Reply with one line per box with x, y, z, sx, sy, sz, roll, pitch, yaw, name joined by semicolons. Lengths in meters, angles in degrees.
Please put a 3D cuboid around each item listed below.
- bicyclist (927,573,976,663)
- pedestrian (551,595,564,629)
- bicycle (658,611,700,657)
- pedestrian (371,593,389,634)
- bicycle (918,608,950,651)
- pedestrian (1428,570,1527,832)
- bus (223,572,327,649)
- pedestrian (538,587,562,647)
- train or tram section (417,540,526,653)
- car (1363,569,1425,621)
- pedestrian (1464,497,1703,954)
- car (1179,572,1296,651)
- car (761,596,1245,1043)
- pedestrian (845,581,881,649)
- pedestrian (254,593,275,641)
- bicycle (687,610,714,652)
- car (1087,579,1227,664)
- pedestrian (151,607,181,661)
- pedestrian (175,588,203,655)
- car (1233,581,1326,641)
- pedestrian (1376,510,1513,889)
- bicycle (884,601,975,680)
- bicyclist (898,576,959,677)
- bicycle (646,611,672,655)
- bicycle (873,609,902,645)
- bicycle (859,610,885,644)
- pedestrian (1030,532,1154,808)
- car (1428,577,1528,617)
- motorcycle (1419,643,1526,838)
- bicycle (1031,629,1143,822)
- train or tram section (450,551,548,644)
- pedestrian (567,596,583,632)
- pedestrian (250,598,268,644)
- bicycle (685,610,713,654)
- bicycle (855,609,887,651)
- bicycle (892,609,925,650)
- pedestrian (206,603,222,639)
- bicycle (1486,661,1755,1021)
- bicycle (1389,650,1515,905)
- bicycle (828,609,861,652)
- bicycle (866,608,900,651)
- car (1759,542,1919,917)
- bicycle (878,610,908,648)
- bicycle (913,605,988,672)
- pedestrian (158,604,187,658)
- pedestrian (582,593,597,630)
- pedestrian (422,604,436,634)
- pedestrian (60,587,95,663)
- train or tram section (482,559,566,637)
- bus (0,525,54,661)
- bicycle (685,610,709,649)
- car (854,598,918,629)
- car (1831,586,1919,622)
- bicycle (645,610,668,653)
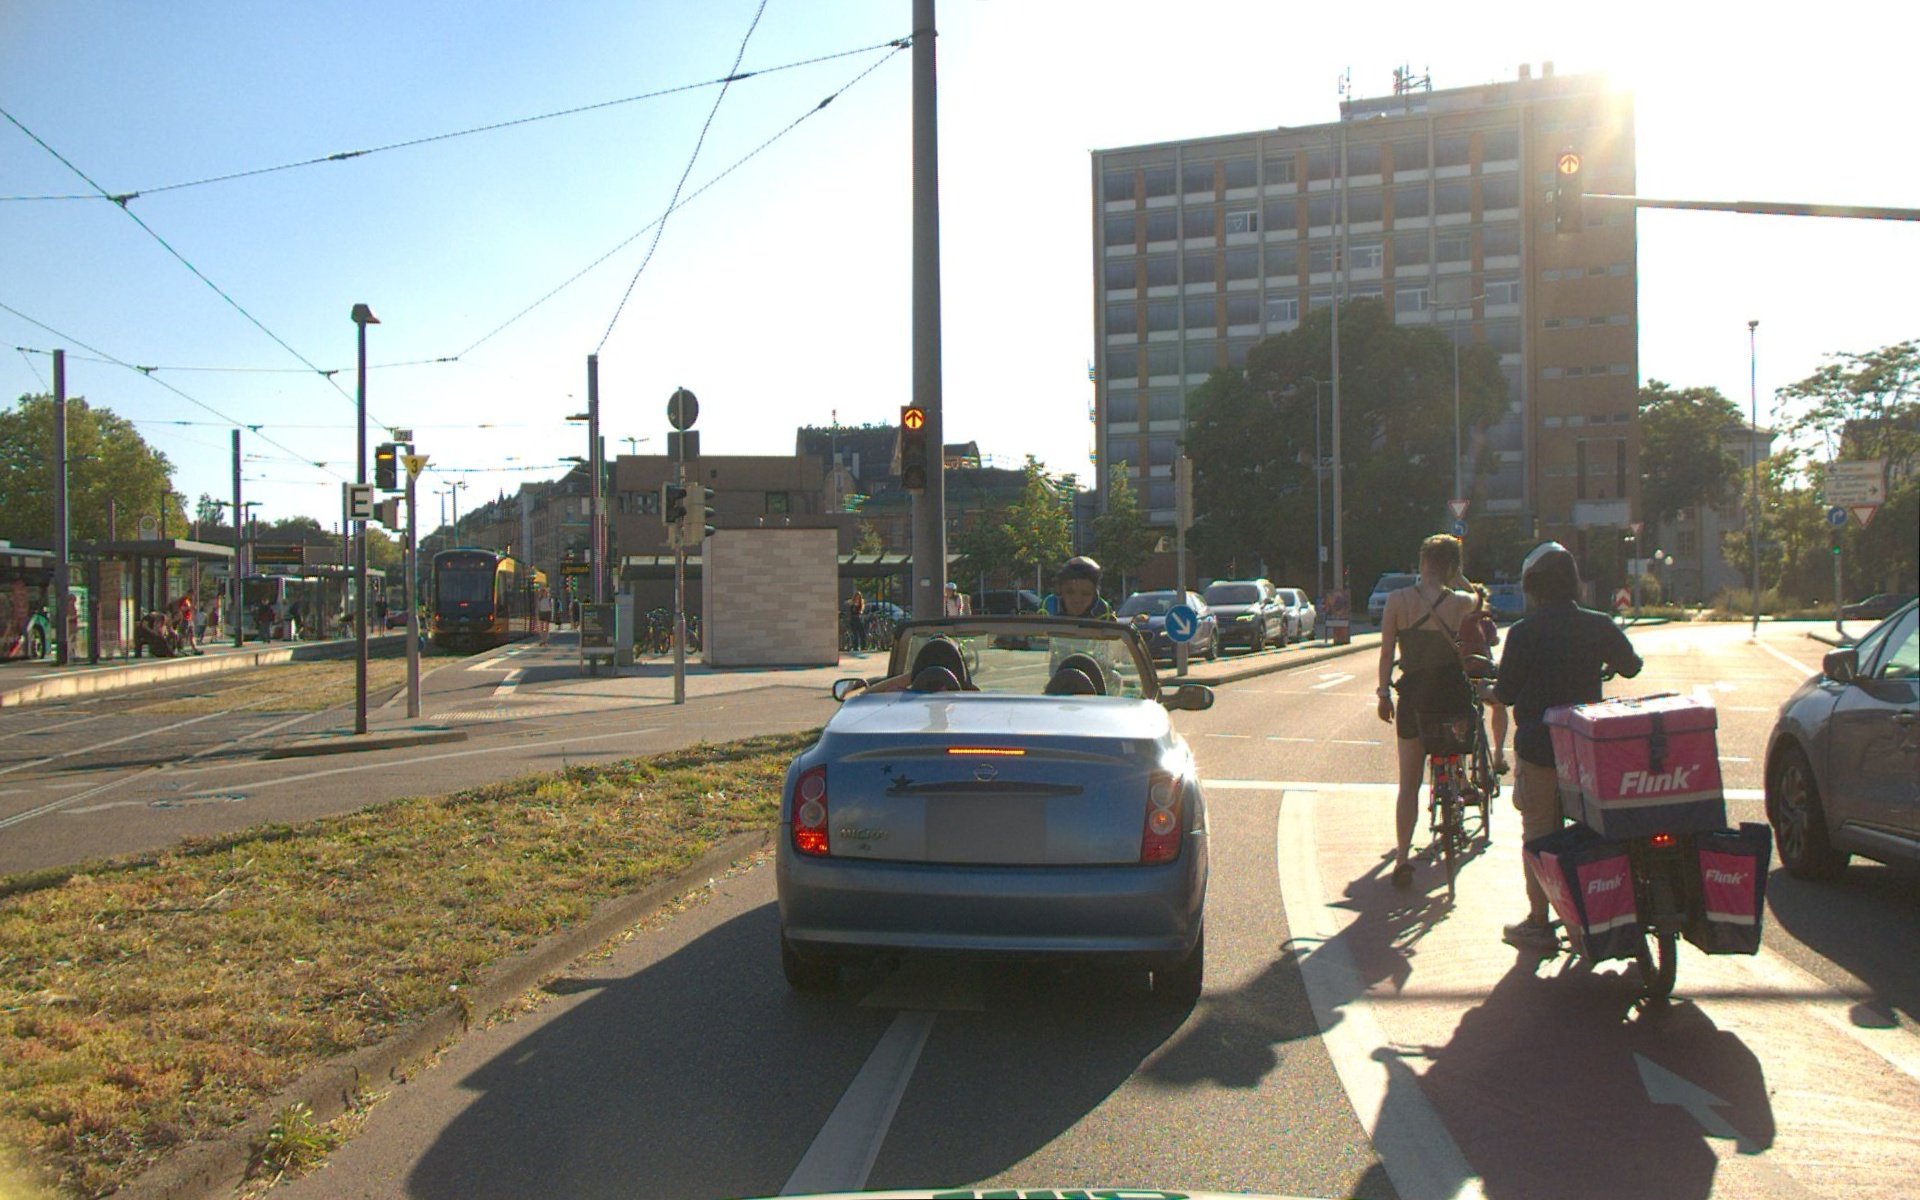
-0.155;0.348;31.476;0.694;1.686;0.743;-1;0;21;bicyclist
-21.788;0.649;89.581;0.593;1.779;0.830;-1;0;-8;pedestrian
-7.183;0.857;42.339;0.594;1.134;1.898;1;0;5;bicycle
-25.502;0.585;72.741;0.630;1.779;0.567;-1;0;-27;pedestrian
-0.730;0.808;45.540;0.595;1.134;1.892;1;0;-10;bicycle
3.382;0.630;10.852;0.575;1.626;1.025;1;-1;16;pedestrian
-32.733;0.467;79.556;2.675;3.331;13.413;1;0;-14;bus
-12.434;0.505;50.121;0.628;1.779;0.569;-1;0;-19;pedestrian
-17.645;-0.105;60.410;2.831;3.659;12.161;1;0;-12;train or tram section
17.314;-0.191;65.871;1.869;1.979;4.707;-1;0;21;car
2.763;0.522;7.428;0.789;1.901;0.957;1;-1;8;pedestrian
6.743;0.256;39.825;1.726;1.736;4.529;-2;-1;23;car
0.355;0.746;7.683;1.625;1.466;4.157;1;0;6;car
-2.749;0.423;46.677;0.885;1.901;0.685;1;-1;-13;pedestrian
-25.948;0.639;61.703;0.630;1.779;0.567;-1;0;-27;pedestrian
-7.278;0.862;46.336;0.596;1.134;1.890;1;0;-13;bicycle
4.073;0.425;33.686;1.702;1.601;3.921;1;0;25;car
-20.093;0.856;41.870;0.606;1.364;0.438;-1;0;-18;pedestrian
-20.706;0.582;44.408;0.561;1.779;0.637;-1;0;-17;pedestrian
9.013;0.281;46.459;1.661;1.588;3.977;-1;0;25;car
2.560;0.500;8.812;0.645;1.901;0.873;1;-1;14;pedestrian
-0.504;0.676;28.831;0.660;1.272;2.457;-3;-1;21;bicycle
-0.542;0.456;28.762;0.694;1.686;0.901;-3;-1;21;bicyclist
-7.991;0.860;43.932;0.596;1.134;1.890;1;0;-13;bicycle
-2.337;0.867;53.191;0.596;1.134;1.890;1;0;-13;bicycle
-3.019;0.911;56.686;0.596;1.134;1.890;1;0;-13;bicycle
0.969;0.485;11.969;0.815;1.901;0.921;1;-1;8;pedestrian
26.898;-0.132;85.986;4.606;1.979;1.910;-1;0;33;car
3.420;0.873;11.114;0.600;1.117;2.361;1;0;16;motorcycle
0.953;0.830;11.900;0.595;1.212;2.416;1;0;9;bicycle
-19.979;-0.083;72.364;2.957;3.659;12.169;1;0;-10;train or tram section
-18.920;0.678;81.267;0.628;1.779;0.732;-1;0;-19;pedestrian
-27.912;0.837;65.859;0.562;1.779;0.636;-1;0;-20;pedestrian
-6.988;0.845;44.278;0.596;1.134;1.890;1;0;-13;bicycle
-2.558;0.843;47.140;0.596;1.134;1.890;1;0;-13;bicycle
-1.495;0.830;47.545;0.596;1.134;1.890;1;0;-13;bicycle
-37.342;1.056;82.776;0.627;1.779;0.570;-1;0;-13;pedestrian
2.728;0.900;7.075;0.542;1.192;2.374;1;0;9;bicycle
2.638;0.888;9.000;0.552;1.171;1.951;1;0;14;bicycle
-3.161;0.824;45.059;0.596;1.134;1.890;1;0;-13;bicycle
-2.109;0.783;45.216;0.596;1.134;1.890;1;0;-13;bicycle
5.286;0.606;7.401;1.792;1.719;4.372;1;0;8;car
-2.087;0.886;51.223;0.596;1.134;1.890;1;0;-13;bicycle
-0.155;0.711;31.449;0.660;1.201;2.183;-1;0;21;bicycle
-20.251;0.803;42.550;0.561;1.369;0.637;-1;0;-17;pedestrian
-18.267;0.567;81.621;0.628;1.779;0.732;-1;0;-19;pedestrian
-31.954;1.128;99.540;0.720;1.779;0.638;-1;0;-8;pedestrian
-20.971;0.590;39.321;0.527;1.779;0.559;-1;0;-6;pedestrian
-22.044;-0.069;84.259;2.984;3.659;12.024;1;0;-10;train or tram section
-23.560;-0.178;37.172;2.606;3.190;9.619;1;0;-10;bus
-7.978;0.893;50.200;0.596;1.134;1.890;1;0;-13;bicycle
-3.983;0.741;88.613;1.629;1.588;3.549;-1;0;-39;car
43.584;0.179;77.962;4.301;1.557;1.800;-2;-1;33;car
-8.423;0.861;45.850;0.596;1.134;1.891;1;0;-11;bicycle
